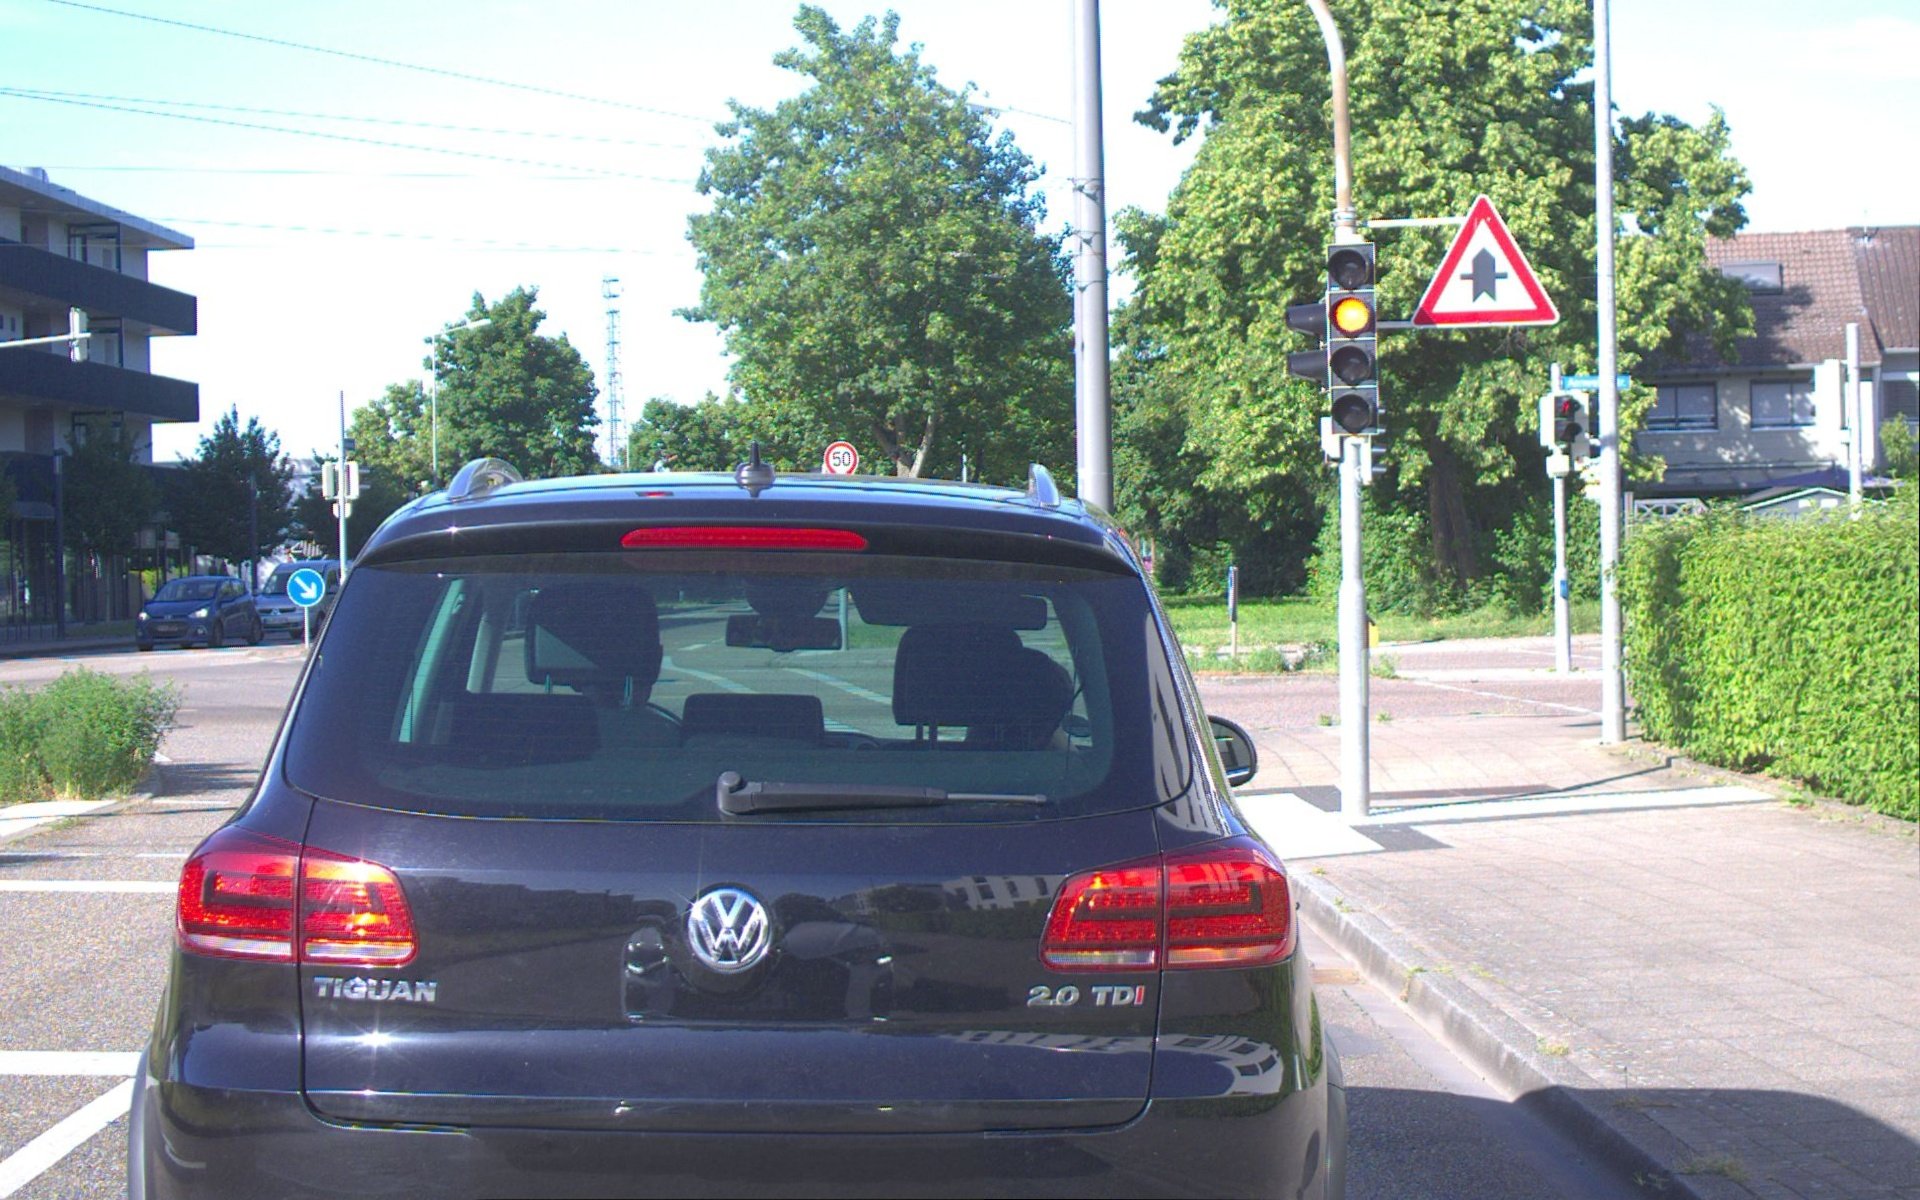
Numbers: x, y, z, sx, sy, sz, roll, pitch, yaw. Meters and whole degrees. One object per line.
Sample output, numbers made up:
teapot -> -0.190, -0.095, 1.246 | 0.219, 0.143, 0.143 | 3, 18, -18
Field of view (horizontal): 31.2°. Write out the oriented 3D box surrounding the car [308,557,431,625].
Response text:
car -> -14.331, -0.231, 83.588 | 1.994, 1.482, 3.543 | -3, 1, 6

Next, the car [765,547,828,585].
car -> -7.108, -1.479, 149.691 | 1.994, 1.566, 3.999 | -1, 1, 8

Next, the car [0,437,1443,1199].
car -> -0.418, 0.602, 6.757 | 1.929, 1.649, 4.515 | 1, 1, -2

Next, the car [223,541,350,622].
car -> -15.286, -0.429, 78.263 | 1.993, 1.749, 4.362 | -1, 1, 0

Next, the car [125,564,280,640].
car -> -15.666, 0.022, 71.335 | 1.696, 1.451, 4.451 | -1, 1, 8

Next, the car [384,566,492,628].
car -> -13.678, -0.096, 90.335 | 1.967, 1.529, 4.740 | -1, 1, 2
